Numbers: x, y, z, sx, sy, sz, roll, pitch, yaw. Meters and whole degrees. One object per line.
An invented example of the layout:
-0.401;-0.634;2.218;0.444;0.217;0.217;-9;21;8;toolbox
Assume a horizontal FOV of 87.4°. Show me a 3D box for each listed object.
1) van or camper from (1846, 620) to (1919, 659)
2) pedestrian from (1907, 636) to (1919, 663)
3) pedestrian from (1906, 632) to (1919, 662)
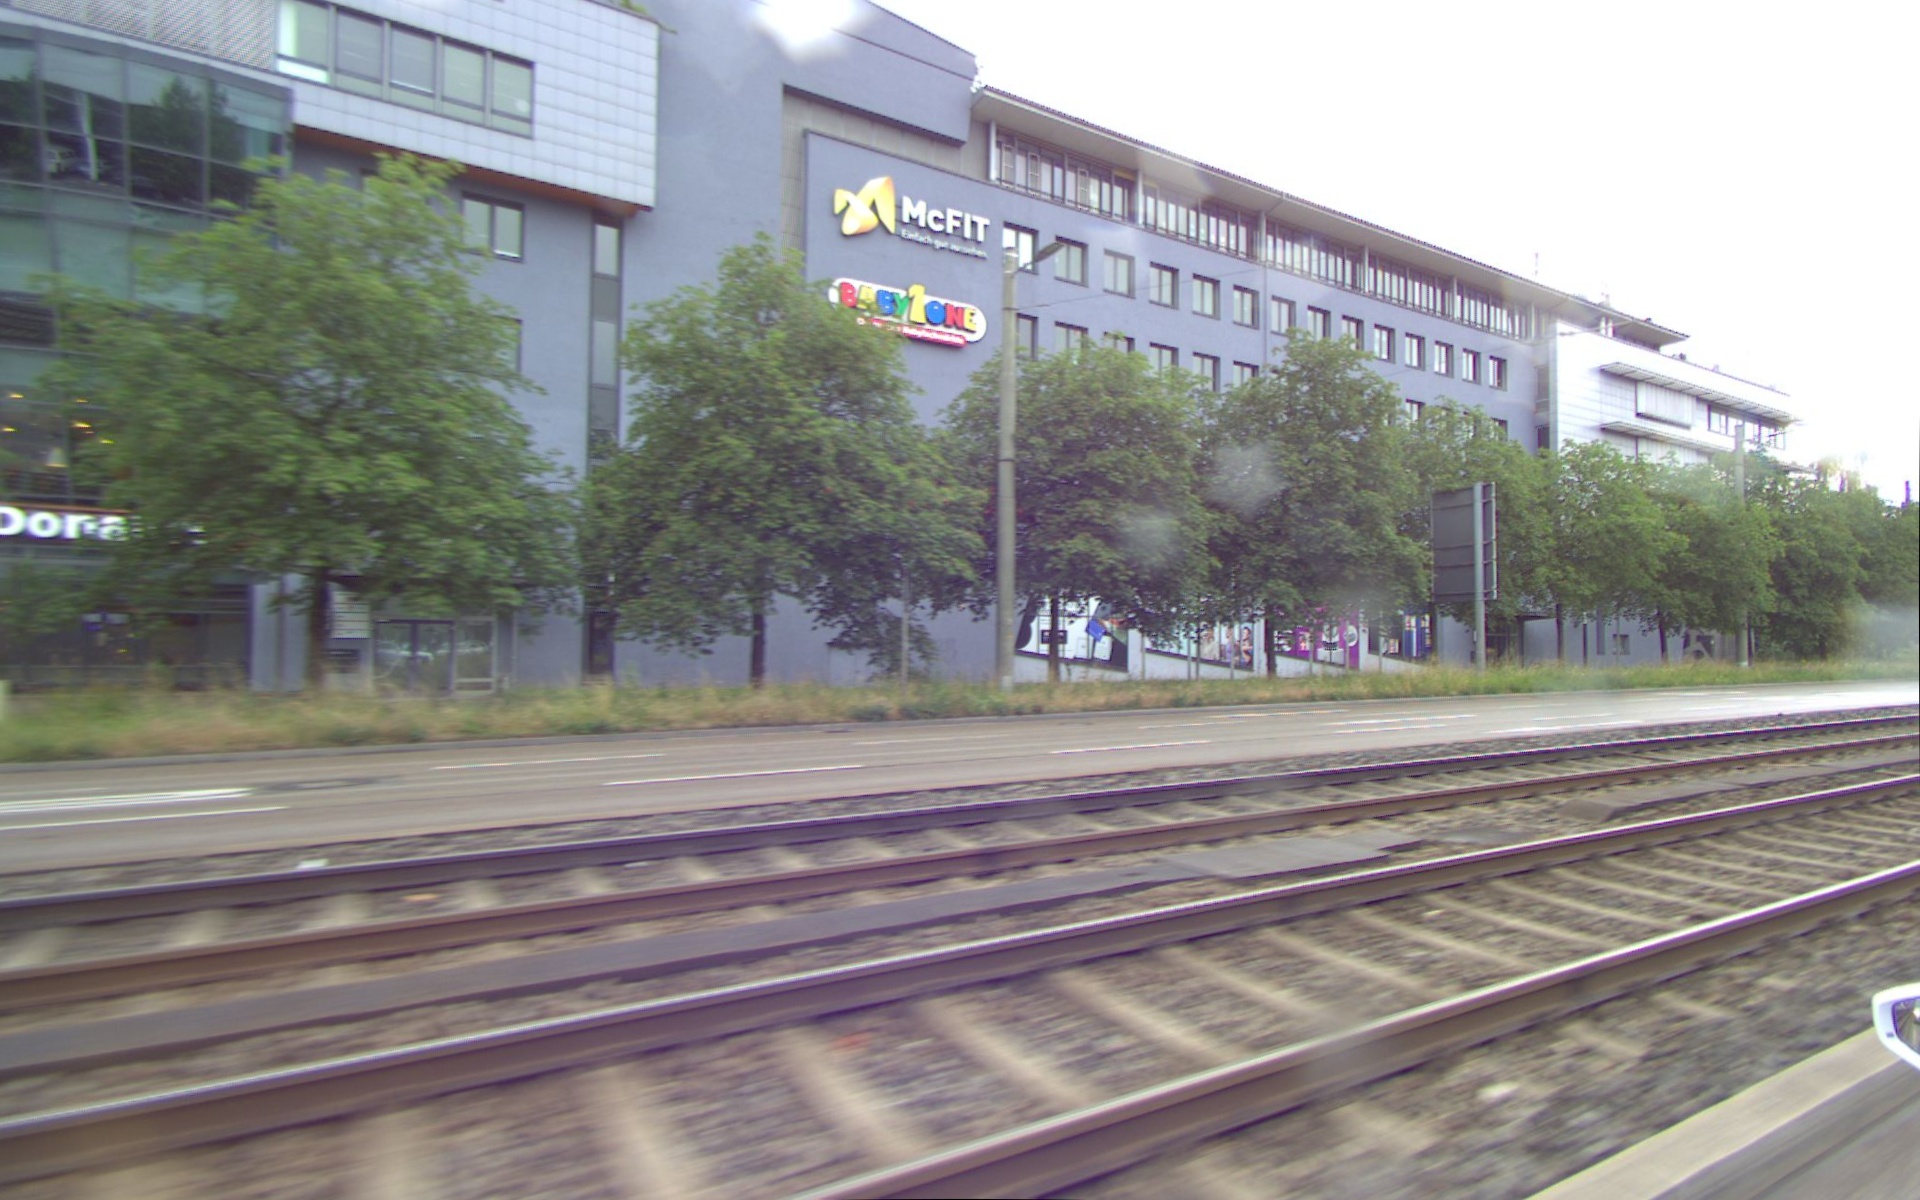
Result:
76.112;3.140;81.505;2.441;3.006;7.379;0;-1;5;van or camper
64.540;3.340;67.730;0.866;1.779;0.722;1;0;-27;pedestrian
66.671;3.272;69.864;0.929;2.040;0.887;1;-2;-15;pedestrian
